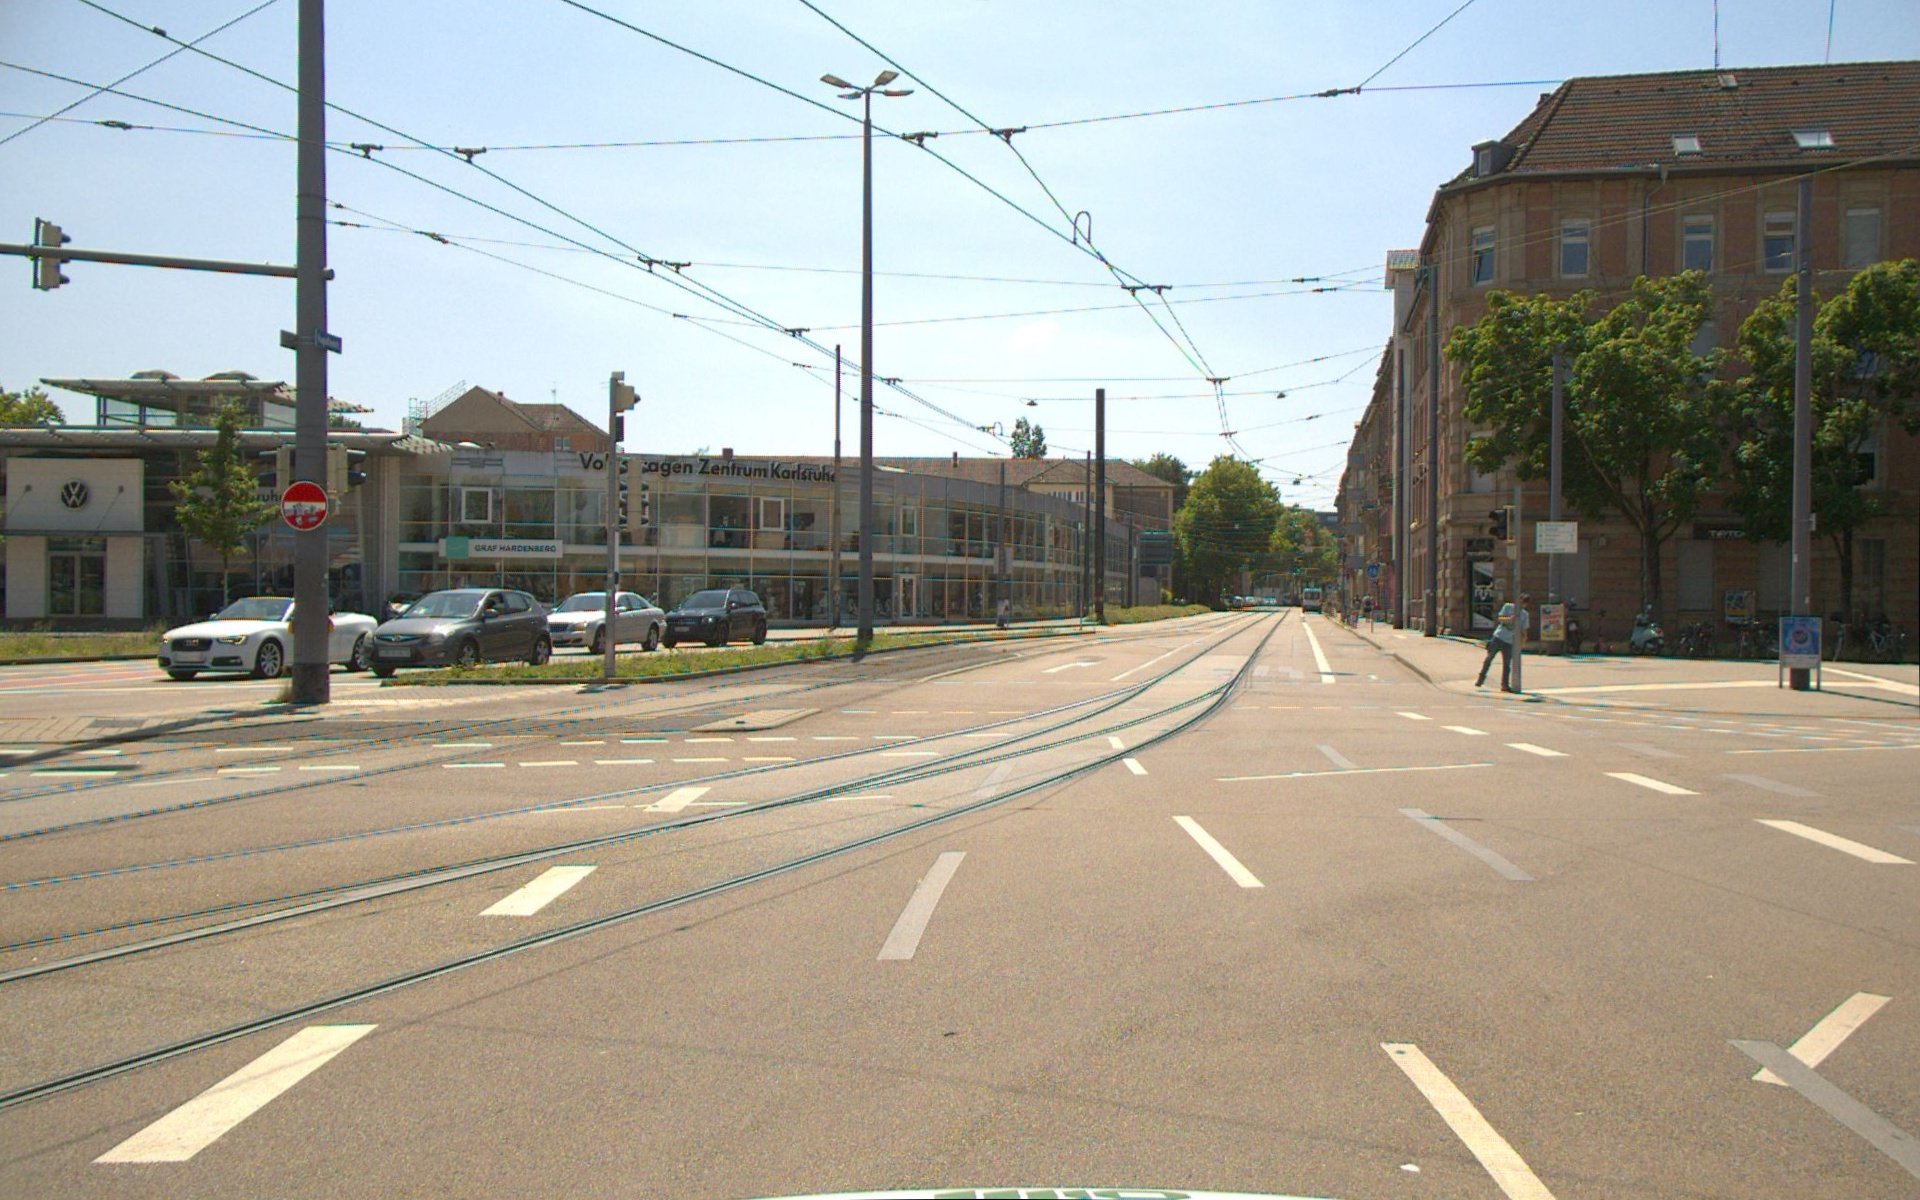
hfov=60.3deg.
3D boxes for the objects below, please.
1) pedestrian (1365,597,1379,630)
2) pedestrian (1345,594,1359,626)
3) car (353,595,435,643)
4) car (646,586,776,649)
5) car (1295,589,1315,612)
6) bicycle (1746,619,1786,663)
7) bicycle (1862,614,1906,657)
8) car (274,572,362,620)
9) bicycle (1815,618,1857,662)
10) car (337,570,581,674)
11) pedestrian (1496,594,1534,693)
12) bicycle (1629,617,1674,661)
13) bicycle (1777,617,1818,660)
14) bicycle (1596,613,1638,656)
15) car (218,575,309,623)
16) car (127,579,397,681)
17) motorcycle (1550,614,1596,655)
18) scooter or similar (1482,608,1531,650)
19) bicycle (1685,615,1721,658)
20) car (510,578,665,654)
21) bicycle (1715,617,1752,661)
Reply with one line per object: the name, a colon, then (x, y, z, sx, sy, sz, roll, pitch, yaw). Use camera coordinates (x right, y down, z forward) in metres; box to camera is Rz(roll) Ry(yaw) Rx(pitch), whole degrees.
pedestrian: (26.478, 0.884, 106.198, 0.751, 2.049, 0.664, 2, -1, 9)
pedestrian: (25.288, 0.636, 106.589, 0.751, 2.049, 0.664, 2, -1, 9)
car: (-22.053, 0.741, 64.586, 1.882, 1.737, 3.998, 3, -1, -3)
car: (-7.180, 0.468, 48.213, 2.034, 1.712, 4.850, 1, 0, 14)
car: (36.286, 0.044, 174.077, 1.951, 2.219, 4.372, 2, -1, 11)
bicycle: (21.897, 1.093, 44.960, 0.539, 1.139, 1.891, 1, 0, 13)
bicycle: (25.263, 0.961, 45.231, 0.539, 1.139, 1.822, 1, 0, 13)
car: (-24.868, -0.118, 64.207, 1.882, 1.737, 3.998, 3, -1, -3)
bicycle: (24.128, 1.083, 45.566, 0.539, 1.139, 1.931, 1, 0, 13)
car: (-8.775, 0.349, 29.471, 1.951, 1.666, 4.850, 1, 0, 14)
pedestrian: (9.801, 0.757, 29.230, 0.451, 1.738, 0.640, 1, 0, 2)
bicycle: (19.082, 1.074, 45.669, 0.433, 1.166, 2.094, 2, -1, 4)
bicycle: (23.052, 1.057, 45.550, 0.539, 1.139, 1.872, 1, 0, 13)
bicycle: (18.080, 0.940, 45.548, 0.539, 1.139, 1.821, 1, 0, 3)
car: (-26.896, -0.015, 64.020, 1.882, 1.737, 3.998, 3, -1, -3)
car: (-12.054, 0.468, 28.993, 2.032, 1.608, 4.850, 1, 0, 10)
motorcycle: (16.885, 0.937, 45.618, 0.568, 1.093, 1.946, 1, 0, 1)
scooter or similar: (15.973, 0.846, 48.325, 1.777, 1.202, 0.590, 1, 0, -43)
bicycle: (20.344, 0.987, 45.302, 0.539, 1.139, 1.822, 1, 0, 13)
car: (-9.197, 0.373, 41.259, 1.951, 1.770, 4.547, 1, 0, 14)
bicycle: (21.079, 1.057, 45.107, 0.539, 1.139, 1.822, 1, 0, 13)
